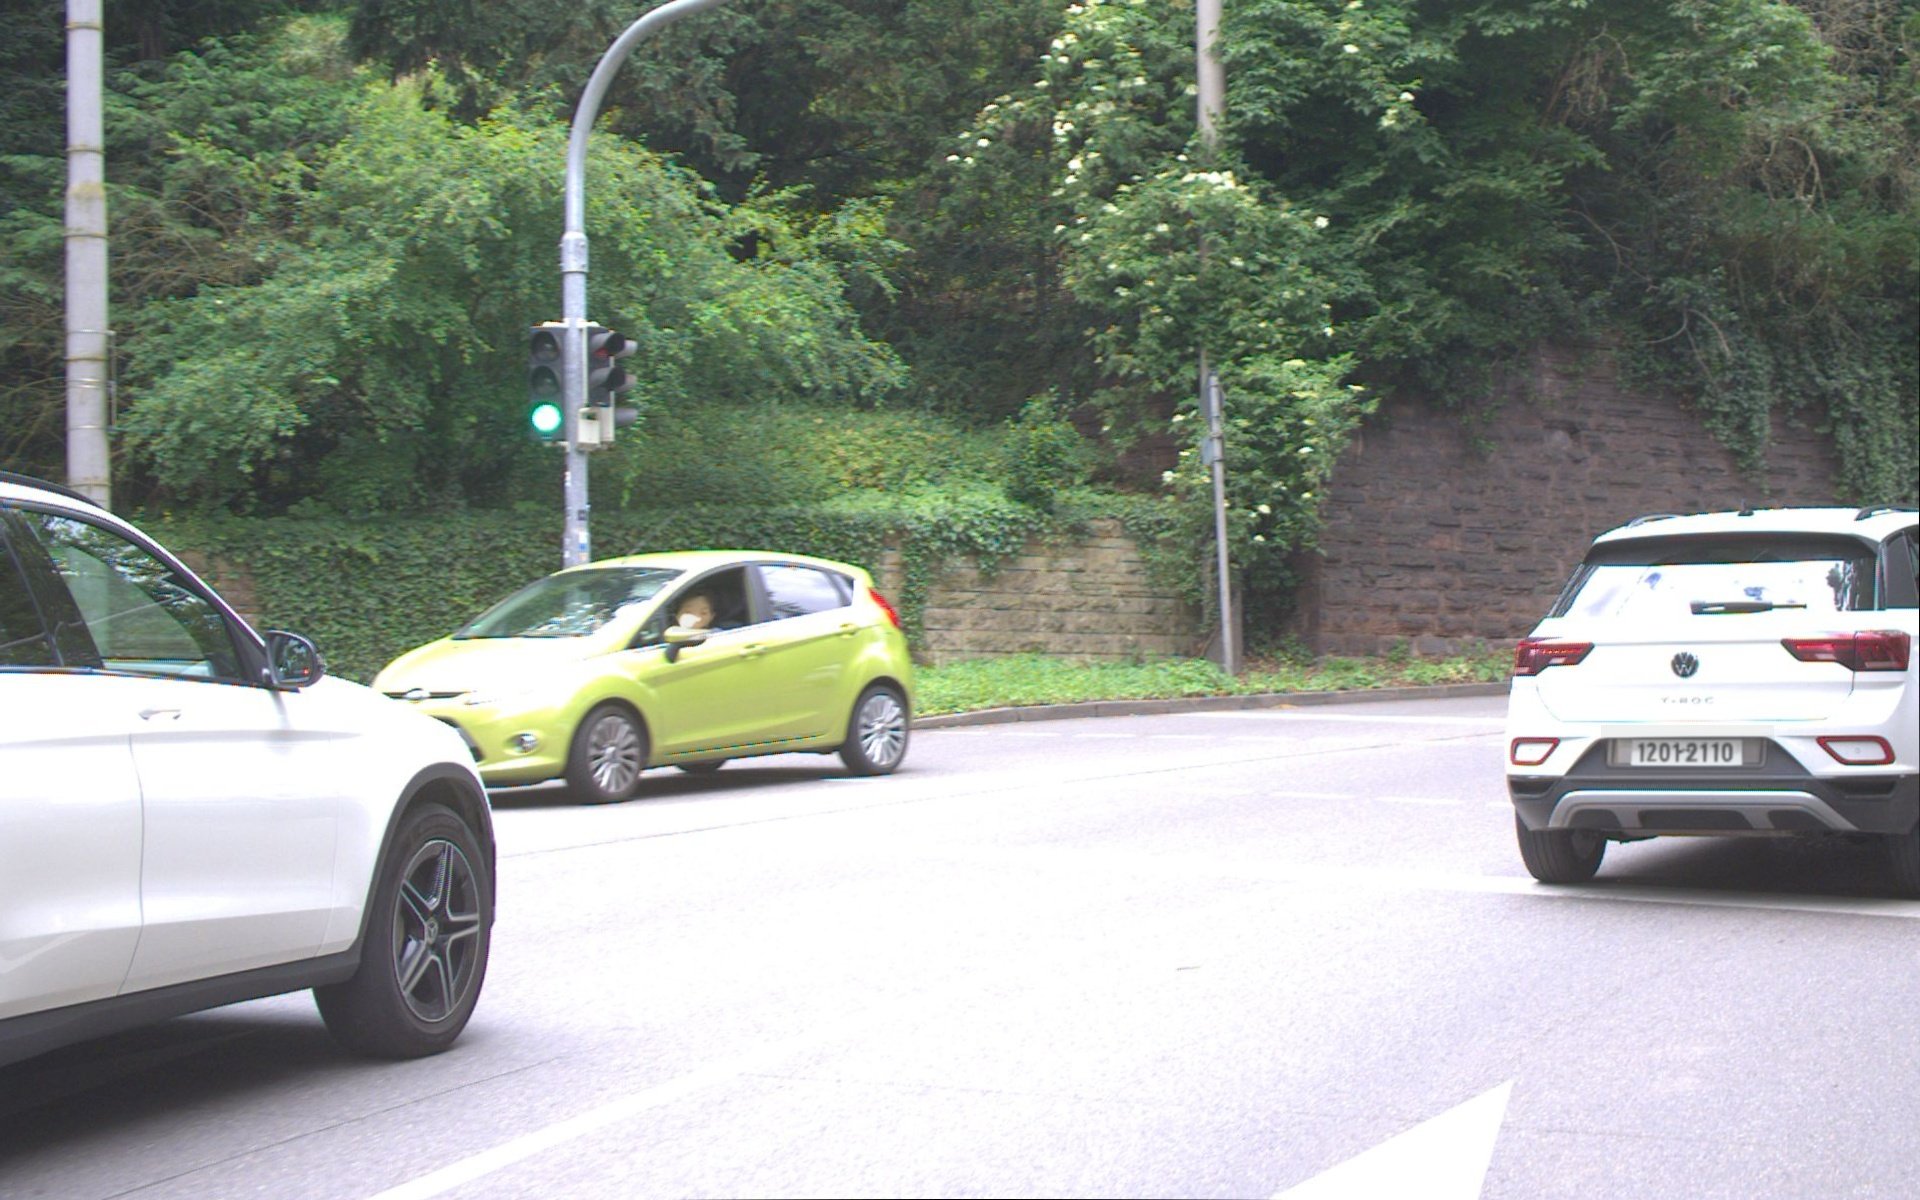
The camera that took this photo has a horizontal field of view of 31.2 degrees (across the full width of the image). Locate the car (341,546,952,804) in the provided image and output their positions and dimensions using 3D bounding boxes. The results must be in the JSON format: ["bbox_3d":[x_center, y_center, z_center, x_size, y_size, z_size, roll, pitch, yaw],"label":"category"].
[{"bbox_3d":[-1.818,0.382,21.040,1.557,1.418,3.891,1,1,36],"label":"car"}]

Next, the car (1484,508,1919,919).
[{"bbox_3d":[3.884,0.377,15.232,1.757,1.547,4.331,0,1,28],"label":"car"}]

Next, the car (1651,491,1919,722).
[{"bbox_3d":[7.243,-0.026,25.079,4.763,1.529,1.870,-2,2,-43],"label":"car"}]

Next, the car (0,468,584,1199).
[{"bbox_3d":[-2.691,0.469,8.536,1.860,1.600,4.667,2,2,16],"label":"car"}]
